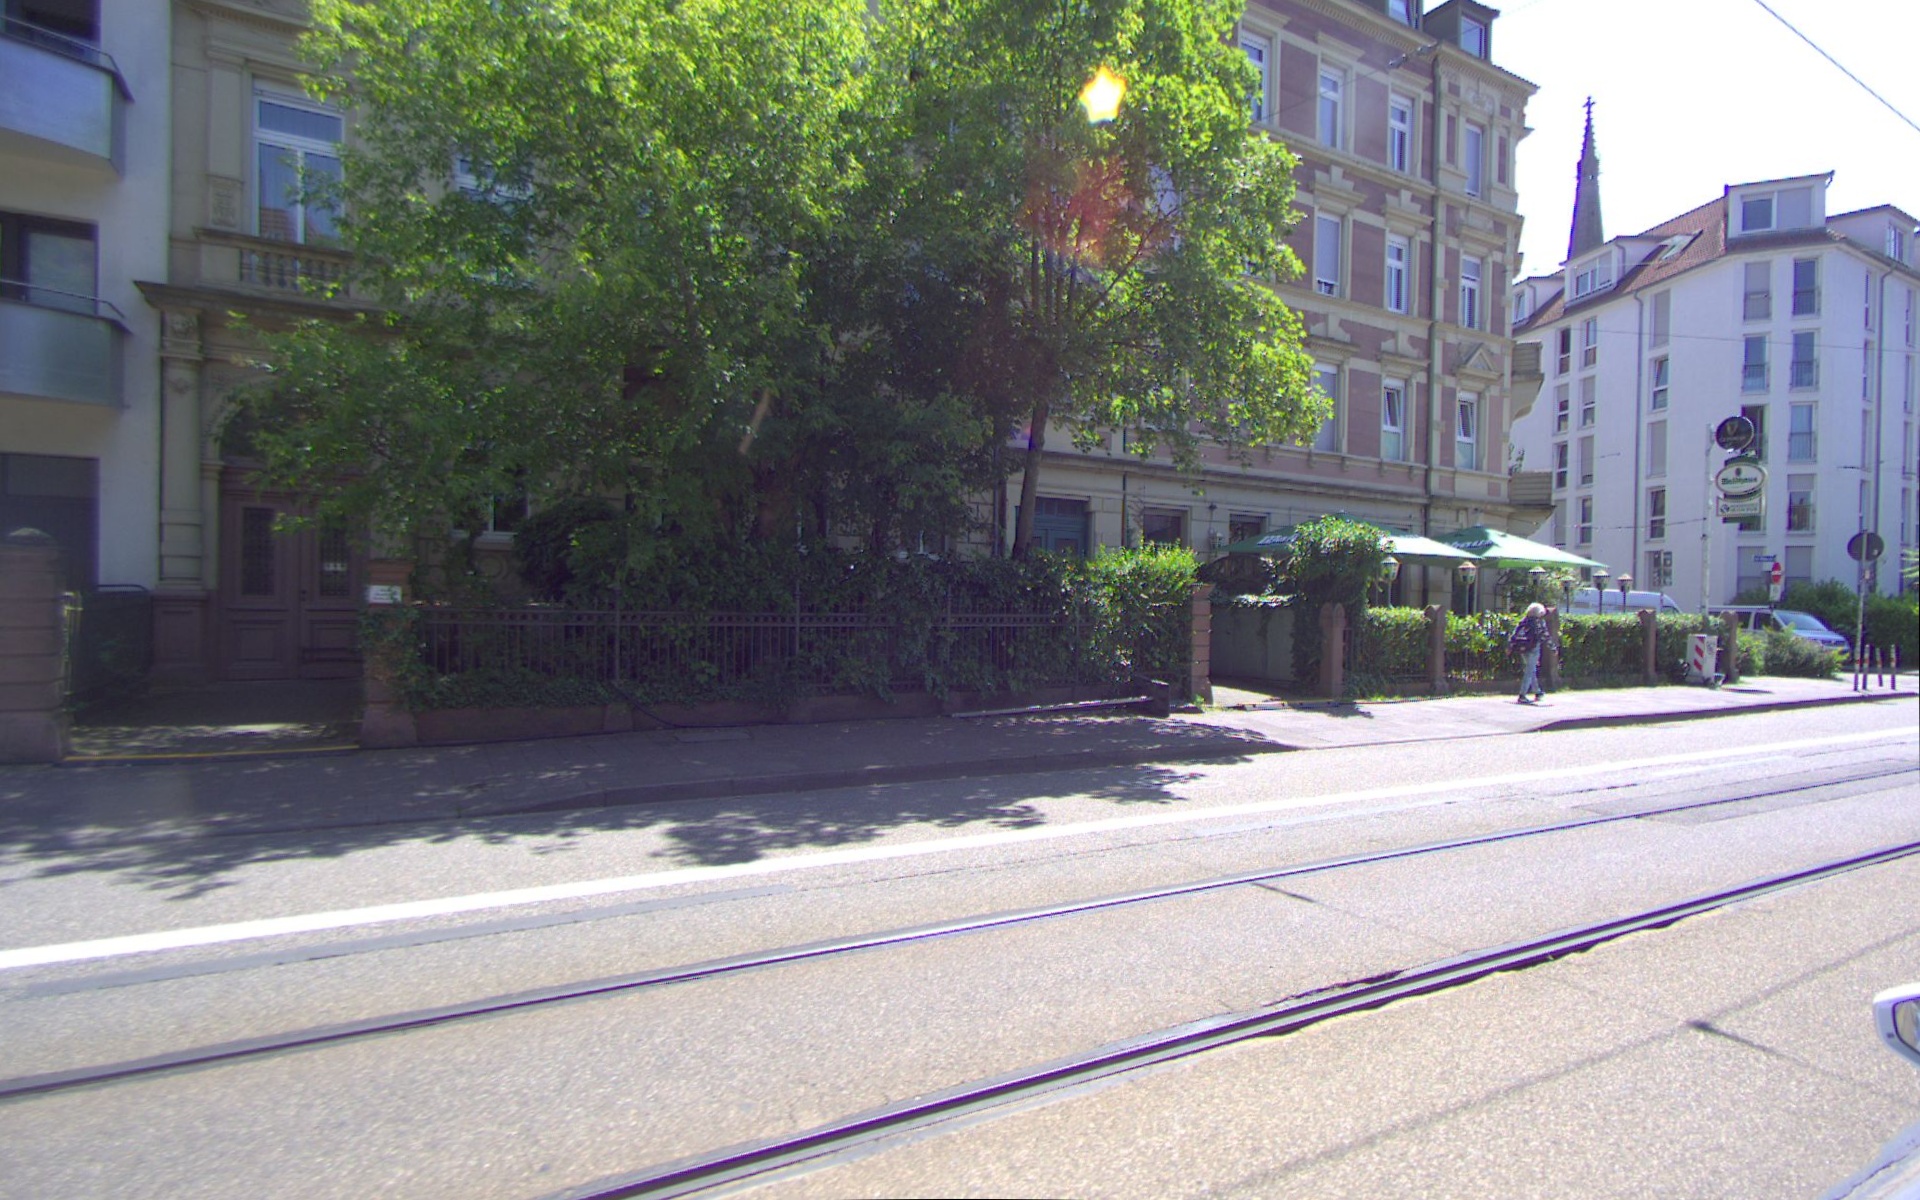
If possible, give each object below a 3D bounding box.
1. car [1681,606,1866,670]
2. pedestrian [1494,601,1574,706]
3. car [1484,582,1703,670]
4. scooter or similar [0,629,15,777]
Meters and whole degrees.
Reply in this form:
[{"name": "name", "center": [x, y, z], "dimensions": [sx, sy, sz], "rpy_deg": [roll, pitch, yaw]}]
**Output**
[{"name": "car", "center": [27.476, 1.231, 34.154], "dimensions": [2.117, 2.011, 4.698], "rpy_deg": [1, 0, -8]}, {"name": "pedestrian", "center": [9.362, 0.854, 16.393], "dimensions": [0.927, 1.664, 0.737], "rpy_deg": [1, 0, -27]}, {"name": "car", "center": [20.099, 0.830, 31.940], "dimensions": [6.079, 2.624, 2.122], "rpy_deg": [1, 0, -11]}, {"name": "scooter or similar", "center": [-8.034, 0.827, 7.948], "dimensions": [0.688, 1.173, 0.611], "rpy_deg": [1, 0, -33]}]
